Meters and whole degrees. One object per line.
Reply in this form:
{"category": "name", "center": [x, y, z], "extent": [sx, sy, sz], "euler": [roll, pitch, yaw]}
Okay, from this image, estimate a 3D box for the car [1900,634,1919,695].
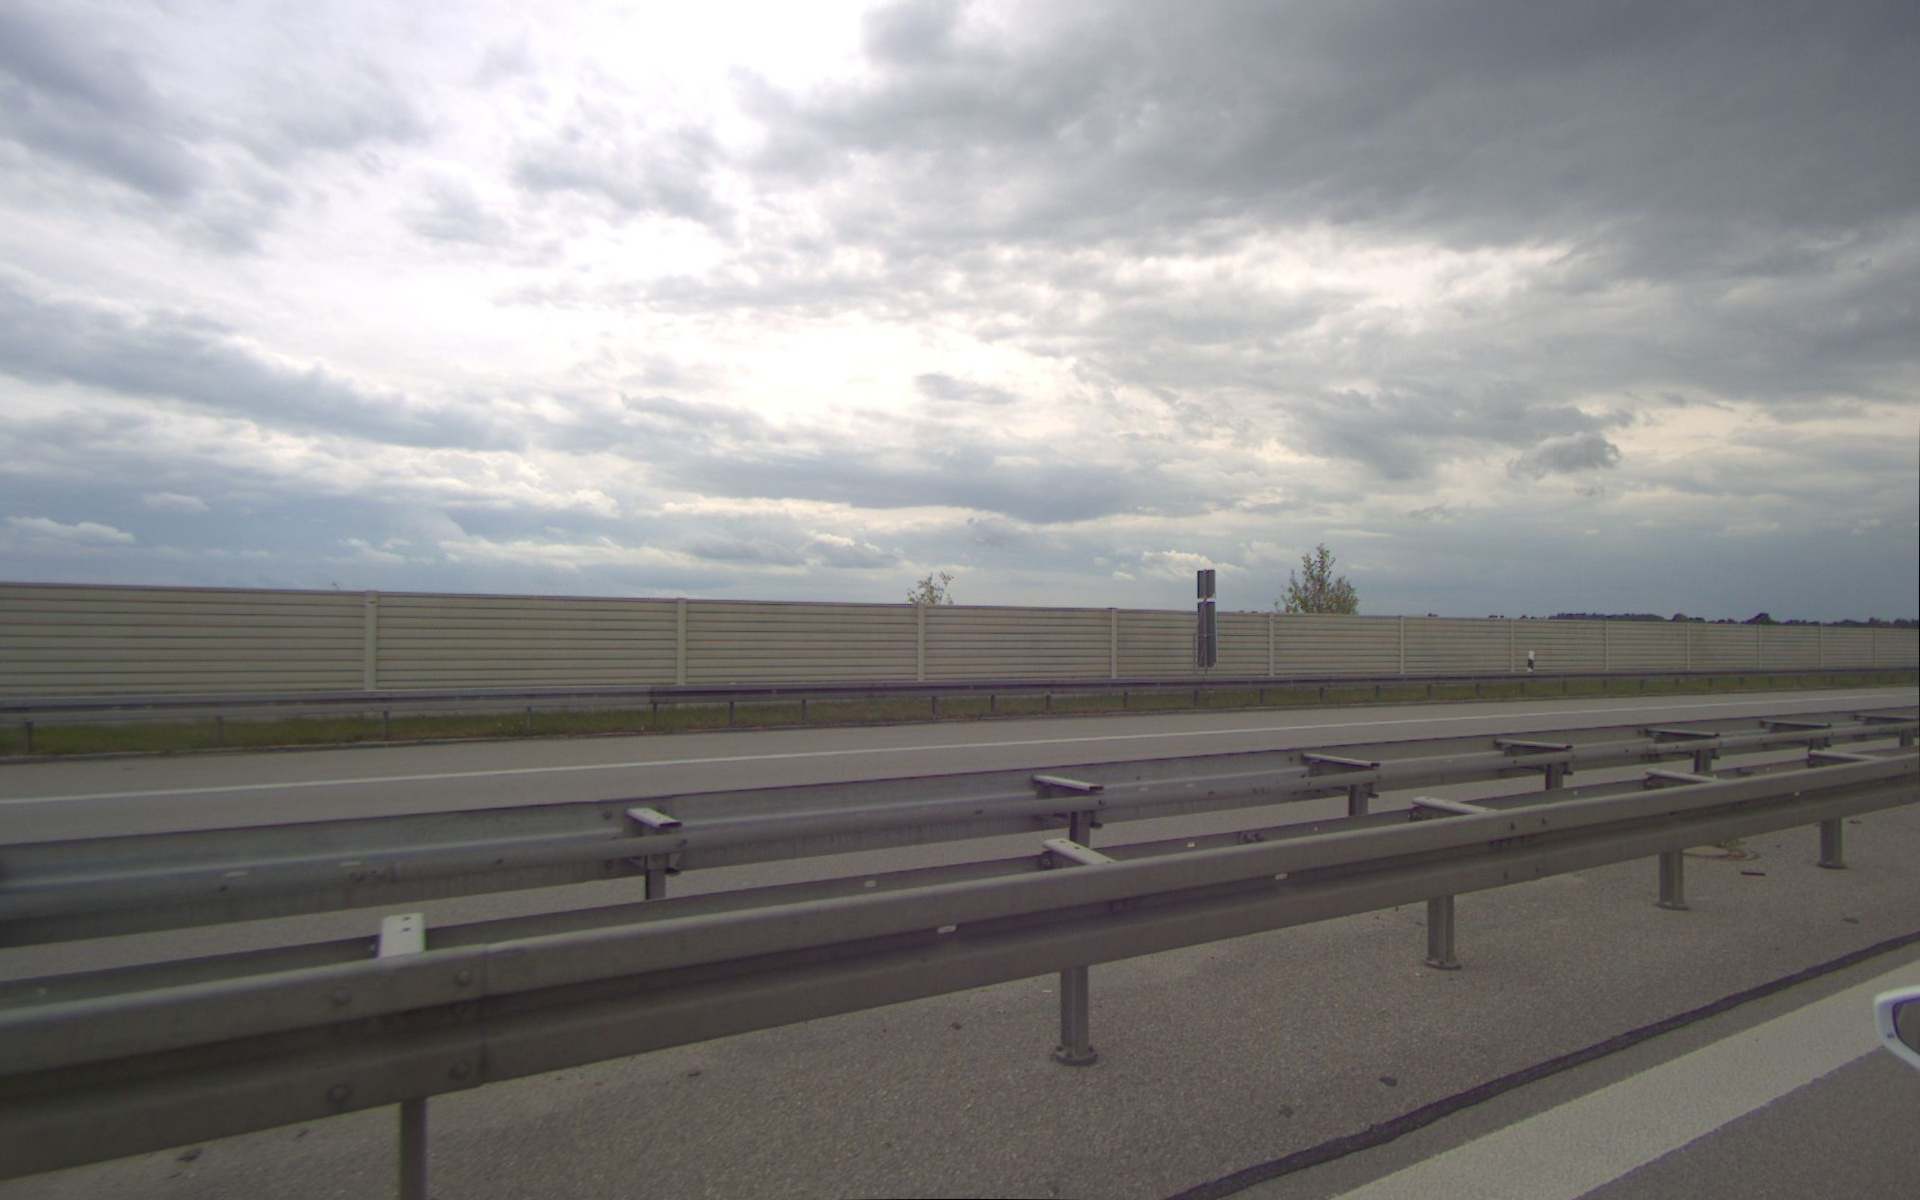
{"category": "car", "center": [30.020, 1.873, 29.768], "extent": [4.855, 1.764, 1.748], "euler": [1, -4, -30]}
